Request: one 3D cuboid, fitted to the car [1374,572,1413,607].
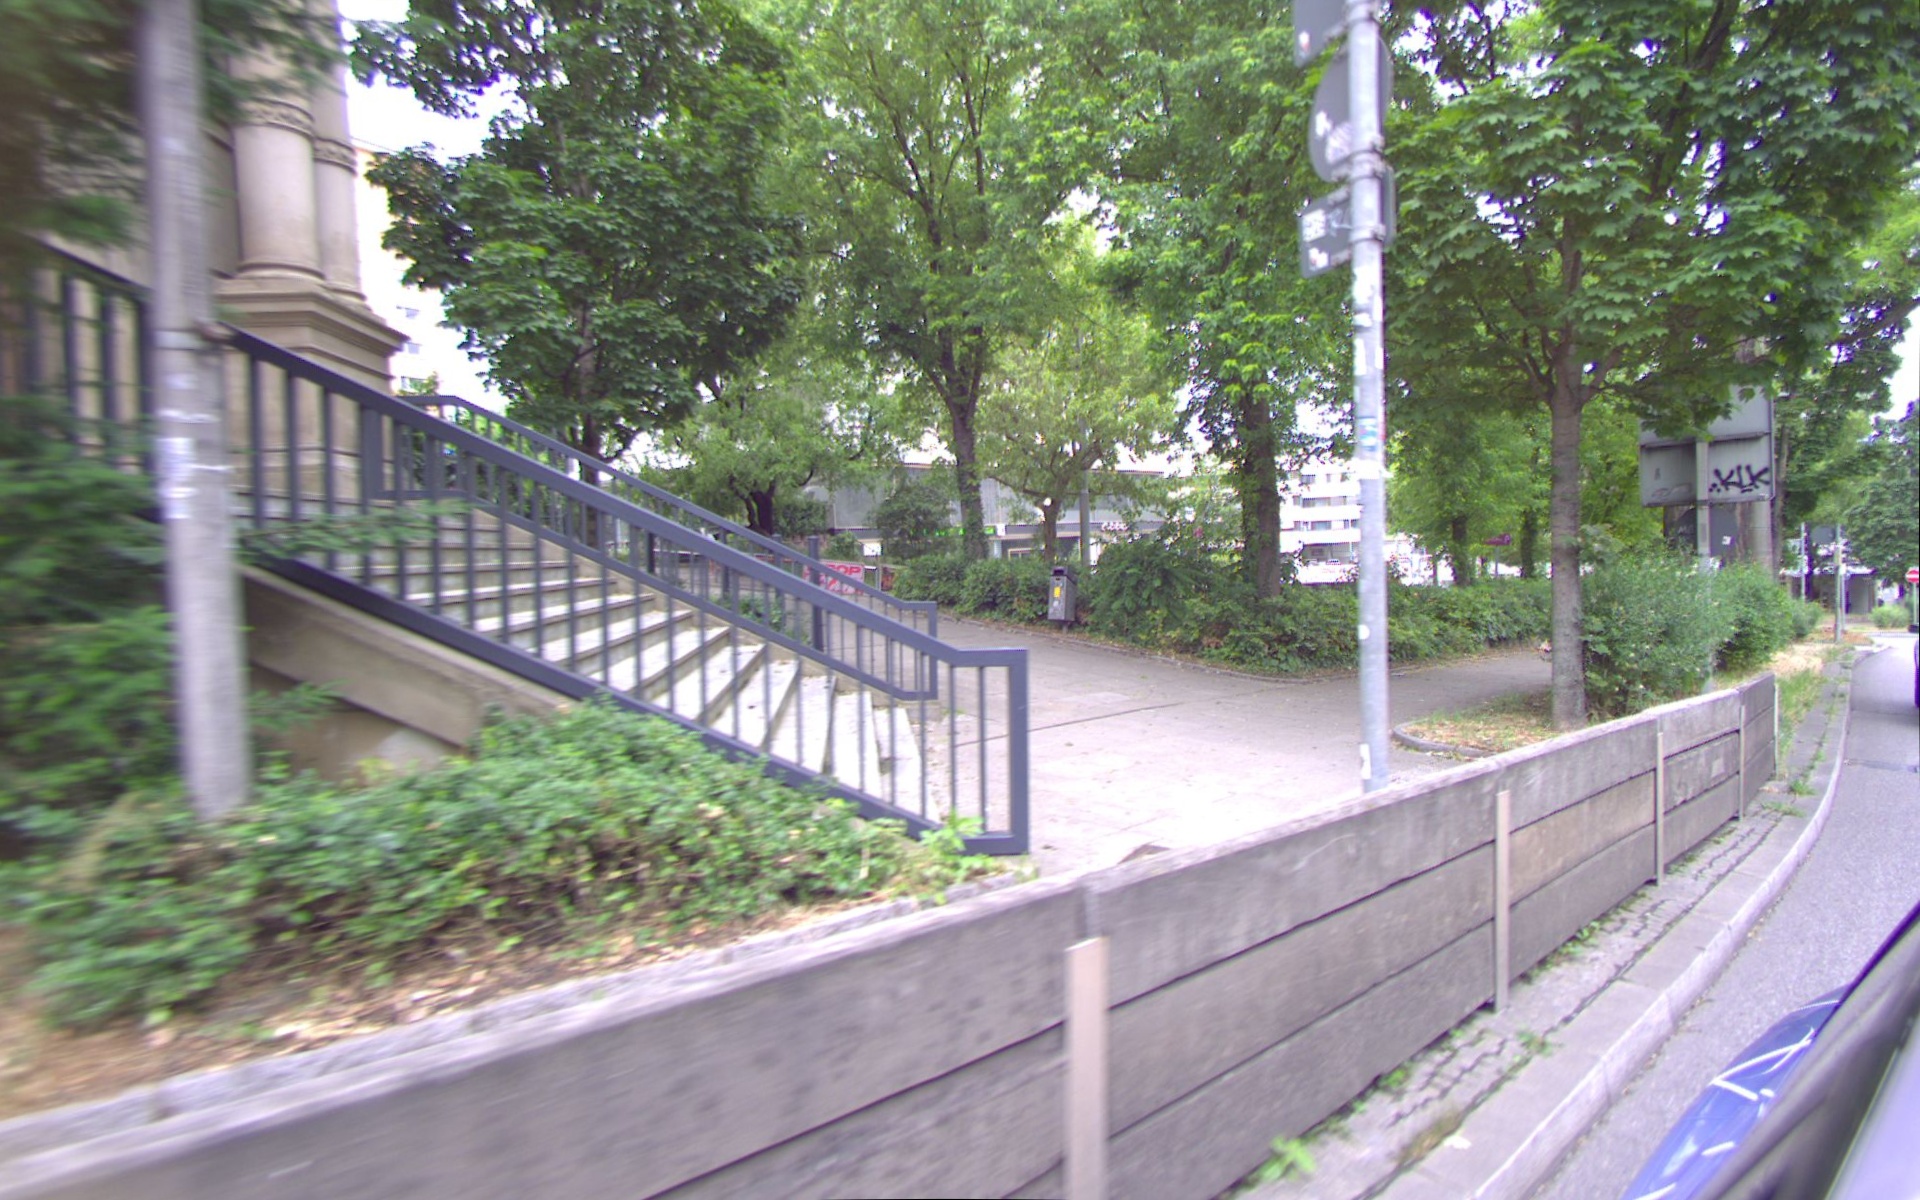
[{"bbox_3d":[28.791,-0.703,67.348,2.101,2.241,4.861,1,1,20],"label":"car"}]

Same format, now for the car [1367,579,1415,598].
[{"bbox_3d":[42.165,-1.138,99.090,3.976,1.708,1.667,-2,-1,37],"label":"car"}]
